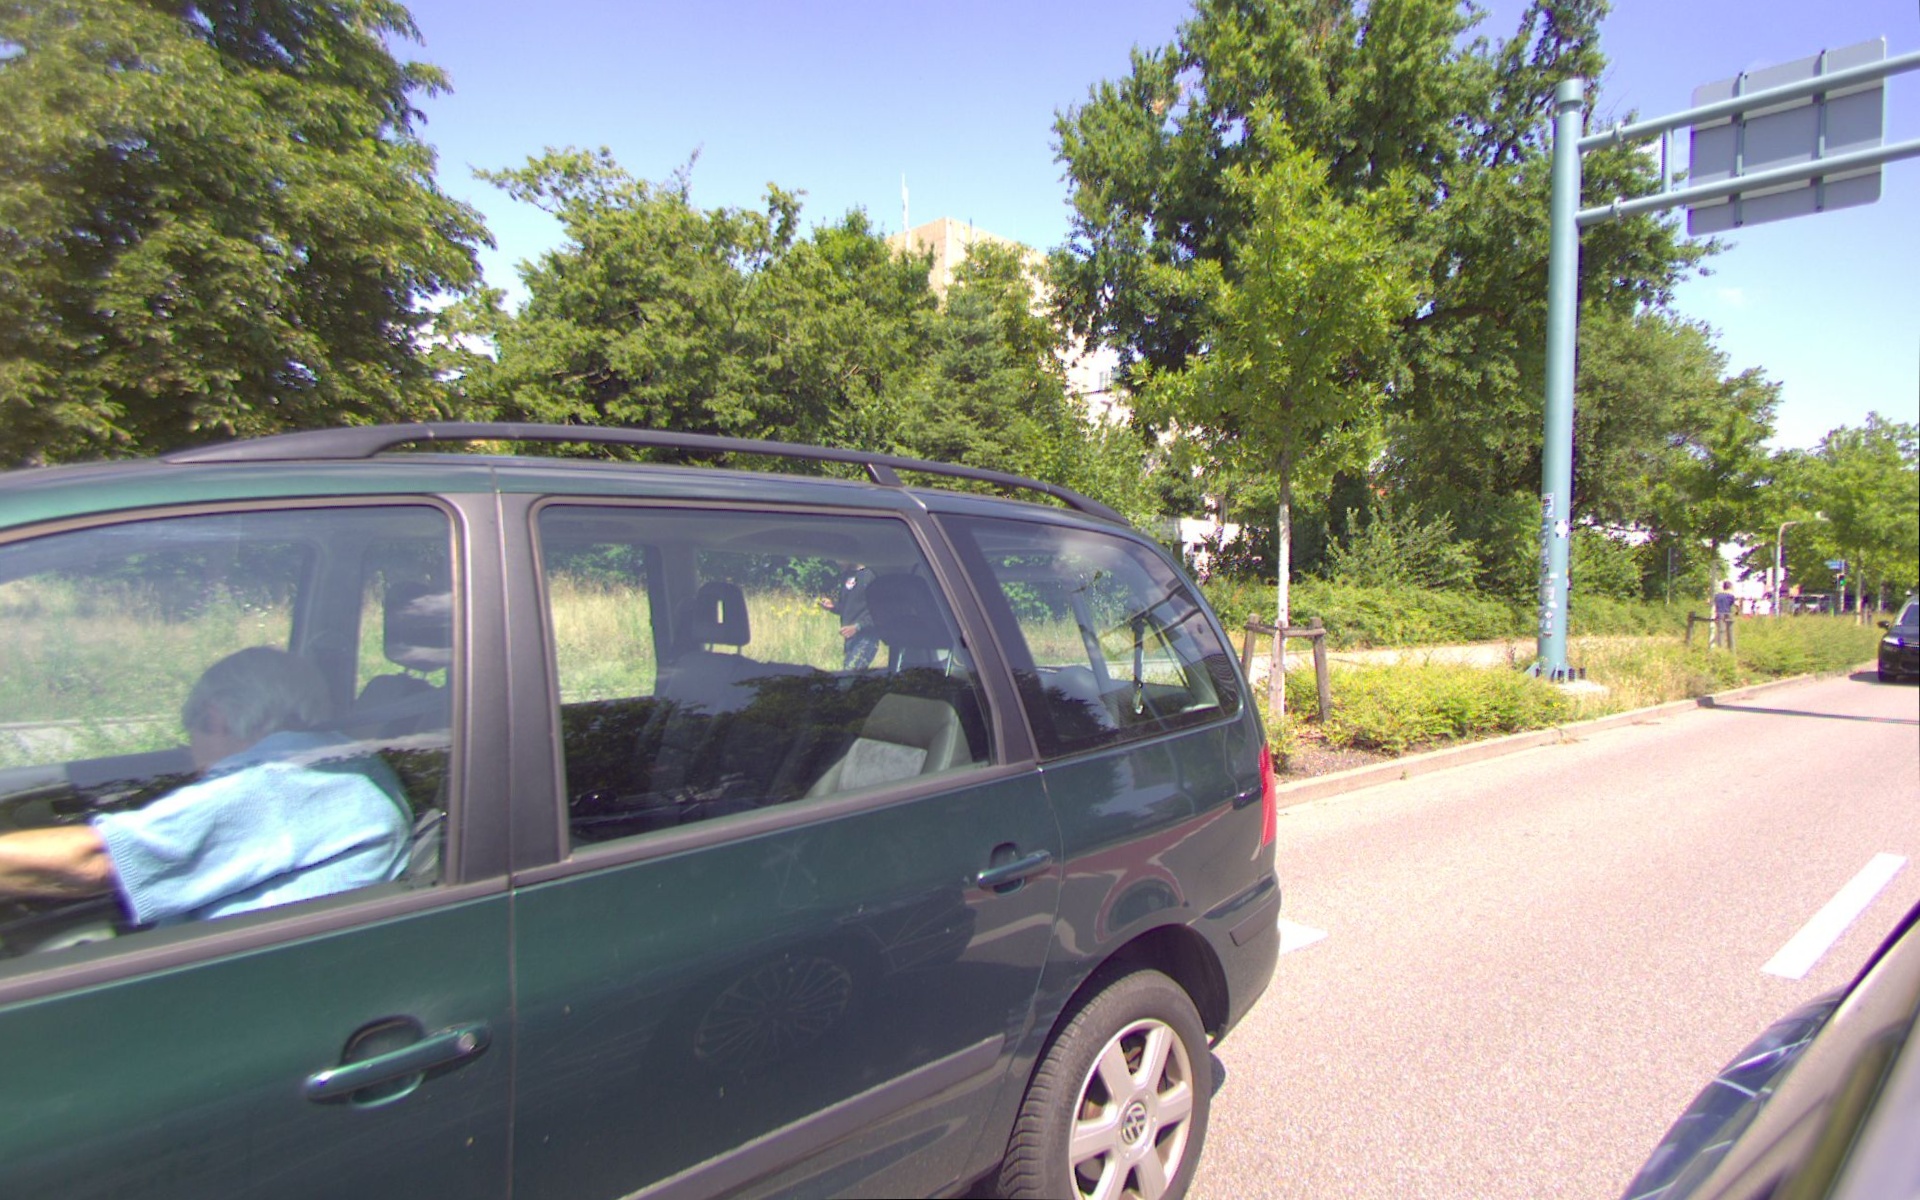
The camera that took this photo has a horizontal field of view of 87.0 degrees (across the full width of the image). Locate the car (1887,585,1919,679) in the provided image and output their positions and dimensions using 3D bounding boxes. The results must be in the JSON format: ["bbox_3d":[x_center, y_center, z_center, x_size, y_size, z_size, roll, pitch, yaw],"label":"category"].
[{"bbox_3d":[18.609,0.570,18.604,4.400,1.628,1.815,1,-1,-41],"label":"car"}]

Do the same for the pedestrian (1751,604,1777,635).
[{"bbox_3d":[44.137,1.074,55.556,0.752,1.630,0.766,1,0,-5],"label":"pedestrian"}]

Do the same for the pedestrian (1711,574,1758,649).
[{"bbox_3d":[18.754,0.274,24.511,0.869,1.787,0.640,1,1,-35],"label":"pedestrian"}]

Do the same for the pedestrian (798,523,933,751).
[{"bbox_3d":[-0.763,0.270,8.085,0.799,1.705,0.762,1,1,-29],"label":"pedestrian"}]

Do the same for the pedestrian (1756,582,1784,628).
[{"bbox_3d":[37.425,0.214,46.760,0.838,2.063,0.892,1,0,29],"label":"pedestrian"}]

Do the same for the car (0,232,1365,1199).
[{"bbox_3d":[-1.123,0.524,1.970,4.315,1.737,1.804,0,-1,-41],"label":"car"}]
